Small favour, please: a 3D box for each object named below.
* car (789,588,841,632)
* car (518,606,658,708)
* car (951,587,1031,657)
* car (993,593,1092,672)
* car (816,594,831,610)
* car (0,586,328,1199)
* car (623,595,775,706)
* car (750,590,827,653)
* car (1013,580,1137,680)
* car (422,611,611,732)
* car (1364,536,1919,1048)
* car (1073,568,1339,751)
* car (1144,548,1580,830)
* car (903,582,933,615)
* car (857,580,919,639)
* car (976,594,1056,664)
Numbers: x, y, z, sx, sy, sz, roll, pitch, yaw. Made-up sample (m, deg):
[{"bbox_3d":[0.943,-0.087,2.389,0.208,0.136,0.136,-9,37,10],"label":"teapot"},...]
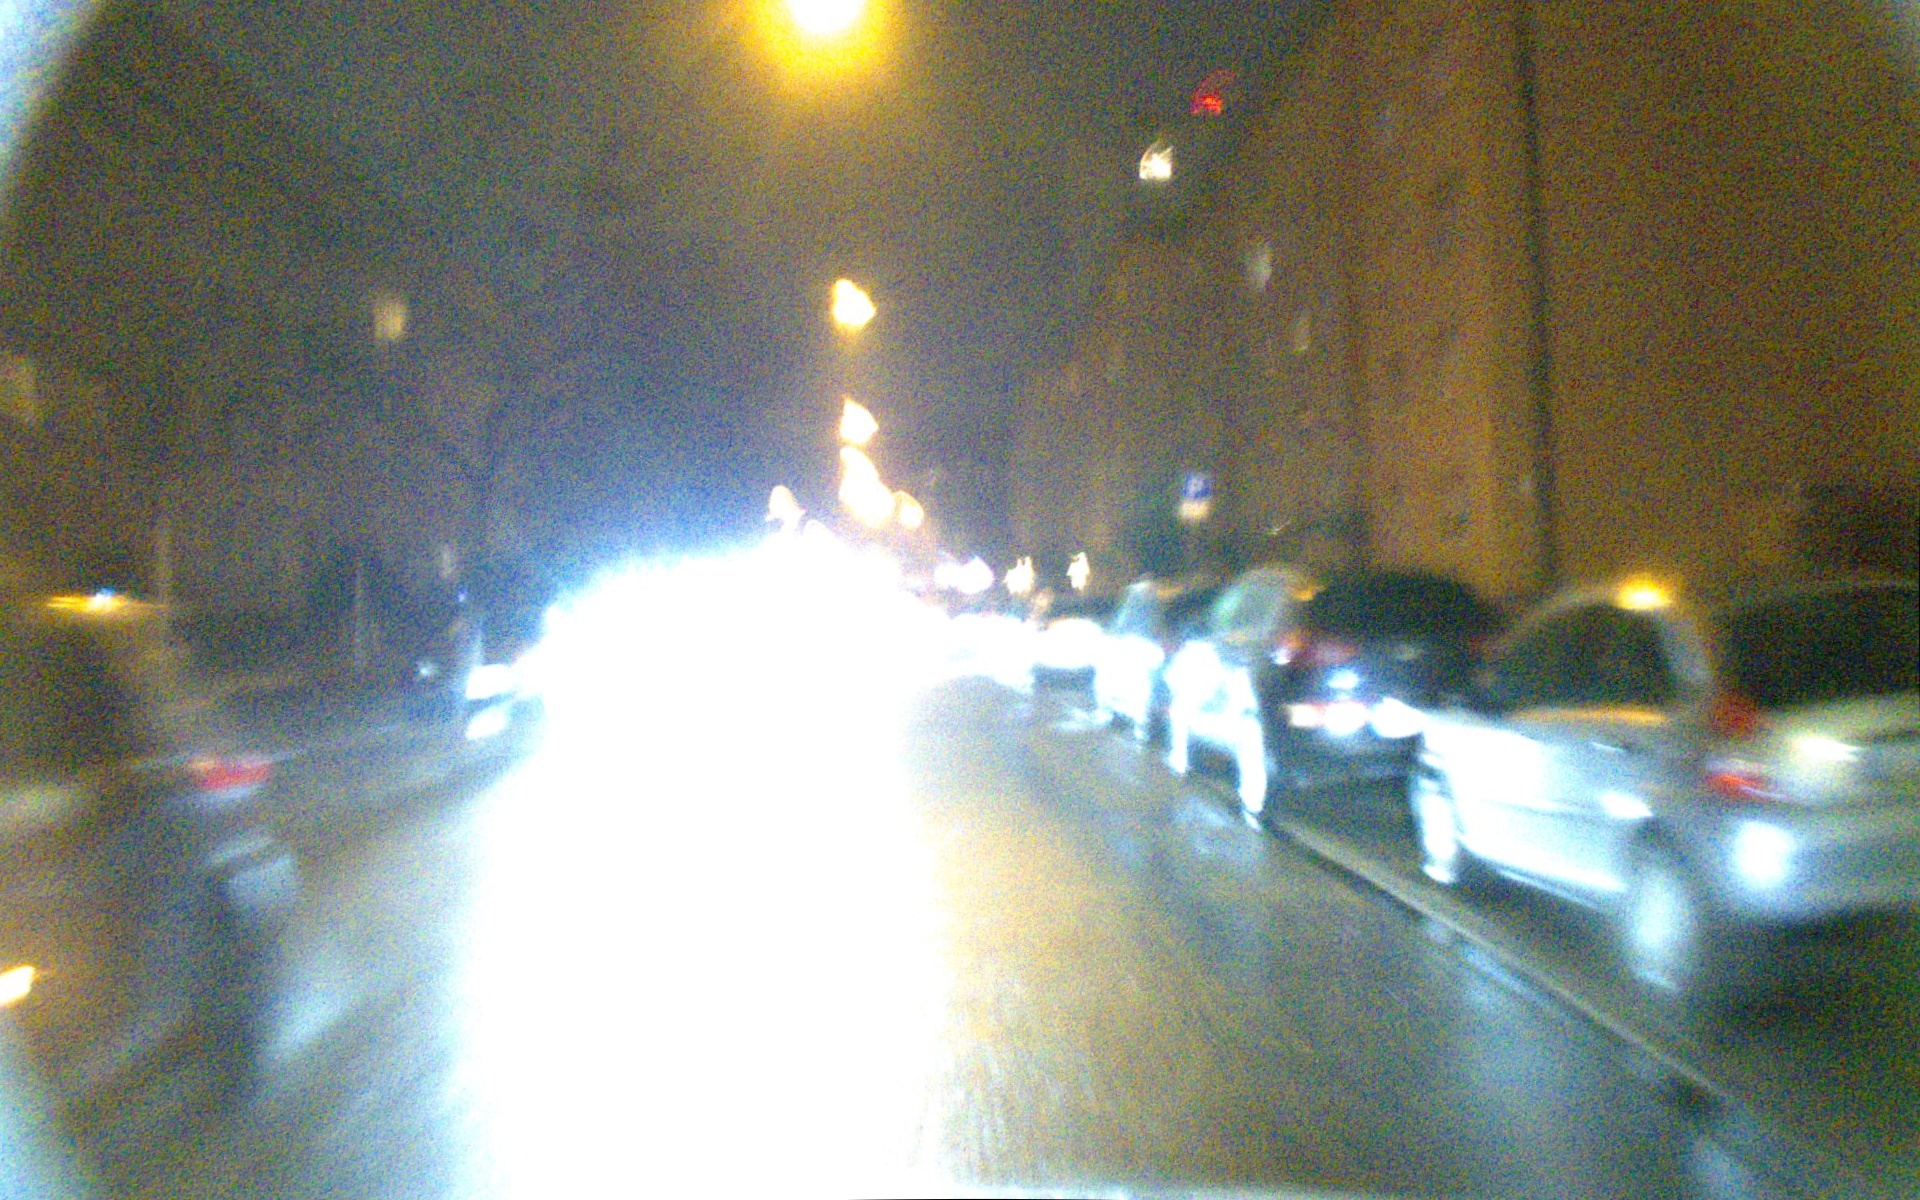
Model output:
[{"bbox_3d":[-5.290,0.332,60.749,1.784,1.488,4.862,-1,1,-4],"label":"car"},{"bbox_3d":[-6.815,0.992,30.698,1.580,1.562,4.299,-5,1,-1],"label":"car"},{"bbox_3d":[0.801,0.554,44.855,1.785,1.702,3.998,-4,1,-3],"label":"car"},{"bbox_3d":[1.654,0.629,34.339,1.572,1.412,3.790,-5,0,-3],"label":"car"},{"bbox_3d":[-15.572,0.245,189.020,1.505,1.739,3.801,-4,1,-3],"label":"car"},{"bbox_3d":[-2.760,0.738,3.885,1.516,1.525,2.792,0,1,-1],"label":"car"},{"bbox_3d":[-3.794,0.683,24.708,1.642,1.459,4.510,-1,0,-2],"label":"car"},{"bbox_3d":[-4.402,0.514,42.889,1.821,1.486,4.520,-1,1,-4],"label":"car"},{"bbox_3d":[1.913,0.461,28.778,1.596,1.491,4.508,-4,1,-2],"label":"car"},{"bbox_3d":[-6.375,0.958,24.287,1.546,1.482,4.642,-5,0,-2],"label":"car"},{"bbox_3d":[3.319,0.566,7.414,1.720,1.555,4.151,-4,1,-3],"label":"car"},{"bbox_3d":[2.512,0.530,18.089,1.844,1.599,4.585,-4,1,-4],"label":"car"},{"bbox_3d":[2.758,0.512,12.529,1.844,1.599,4.524,-4,1,-4],"label":"car"},{"bbox_3d":[-2.417,-0.112,93.943,1.505,1.739,3.801,-4,1,-3],"label":"car"},{"bbox_3d":[-2.425,0.294,56.011,1.953,1.713,3.999,-2,3,-2],"label":"car"},{"bbox_3d":[1.264,0.639,38.607,1.466,1.412,3.745,-4,1,-3],"label":"car"}]
